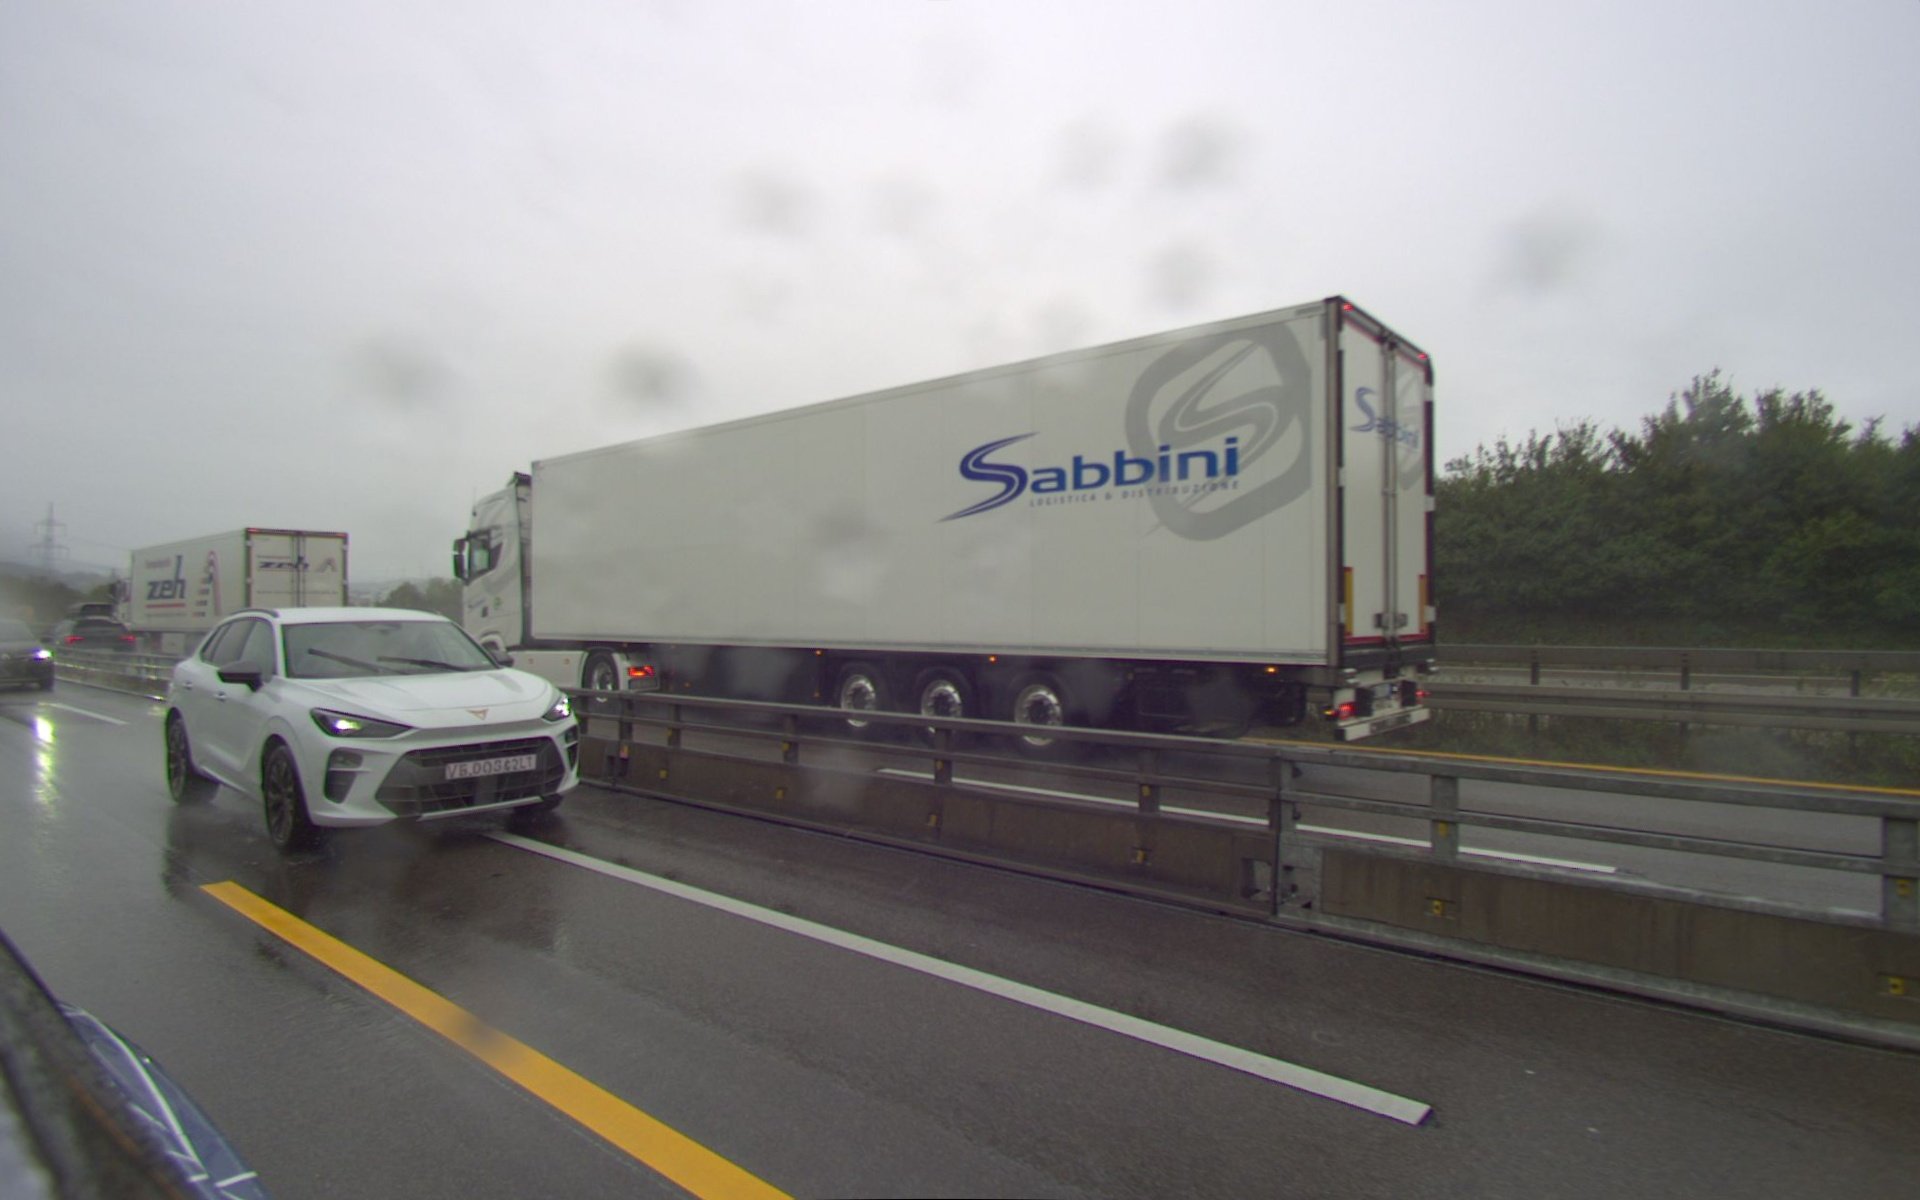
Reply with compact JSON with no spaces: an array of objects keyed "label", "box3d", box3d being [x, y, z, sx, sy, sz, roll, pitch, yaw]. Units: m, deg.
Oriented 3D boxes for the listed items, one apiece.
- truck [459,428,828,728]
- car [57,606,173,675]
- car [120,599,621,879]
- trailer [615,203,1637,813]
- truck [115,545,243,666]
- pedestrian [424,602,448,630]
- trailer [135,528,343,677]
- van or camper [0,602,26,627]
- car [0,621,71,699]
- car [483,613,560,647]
[{"label":"truck","box3d":[-5.635,-0.193,17.292,6.923,4.133,2.853,-2,-2,41]},{"label":"car","box3d":[-25.142,1.198,30.062,4.430,1.899,1.973,-2,-2,41]},{"label":"car","box3d":[-4.895,0.823,8.027,5.003,1.562,1.908,-1,-1,41]},{"label":"trailer","box3d":[0.442,-0.445,11.948,12.214,4.121,2.877,-2,-2,41]},{"label":"truck","box3d":[-28.678,0.254,37.062,6.444,4.062,2.458,-1,-1,40]},{"label":"pedestrian","box3d":[-38.206,1.186,73.792,1.124,2.029,1.095,-1,0,36]},{"label":"trailer","box3d":[-23.659,0.180,32.775,12.577,4.080,2.469,-1,-1,40]},{"label":"van or camper","box3d":[-130.172,1.993,136.673,3.371,3.370,5.359,-1,0,35]},{"label":"car","box3d":[-22.291,1.319,23.311,5.192,1.640,2.043,-1,-1,41]},{"label":"car","box3d":[-26.567,1.799,61.234,5.359,1.981,2.073,-1,-1,39]}]
